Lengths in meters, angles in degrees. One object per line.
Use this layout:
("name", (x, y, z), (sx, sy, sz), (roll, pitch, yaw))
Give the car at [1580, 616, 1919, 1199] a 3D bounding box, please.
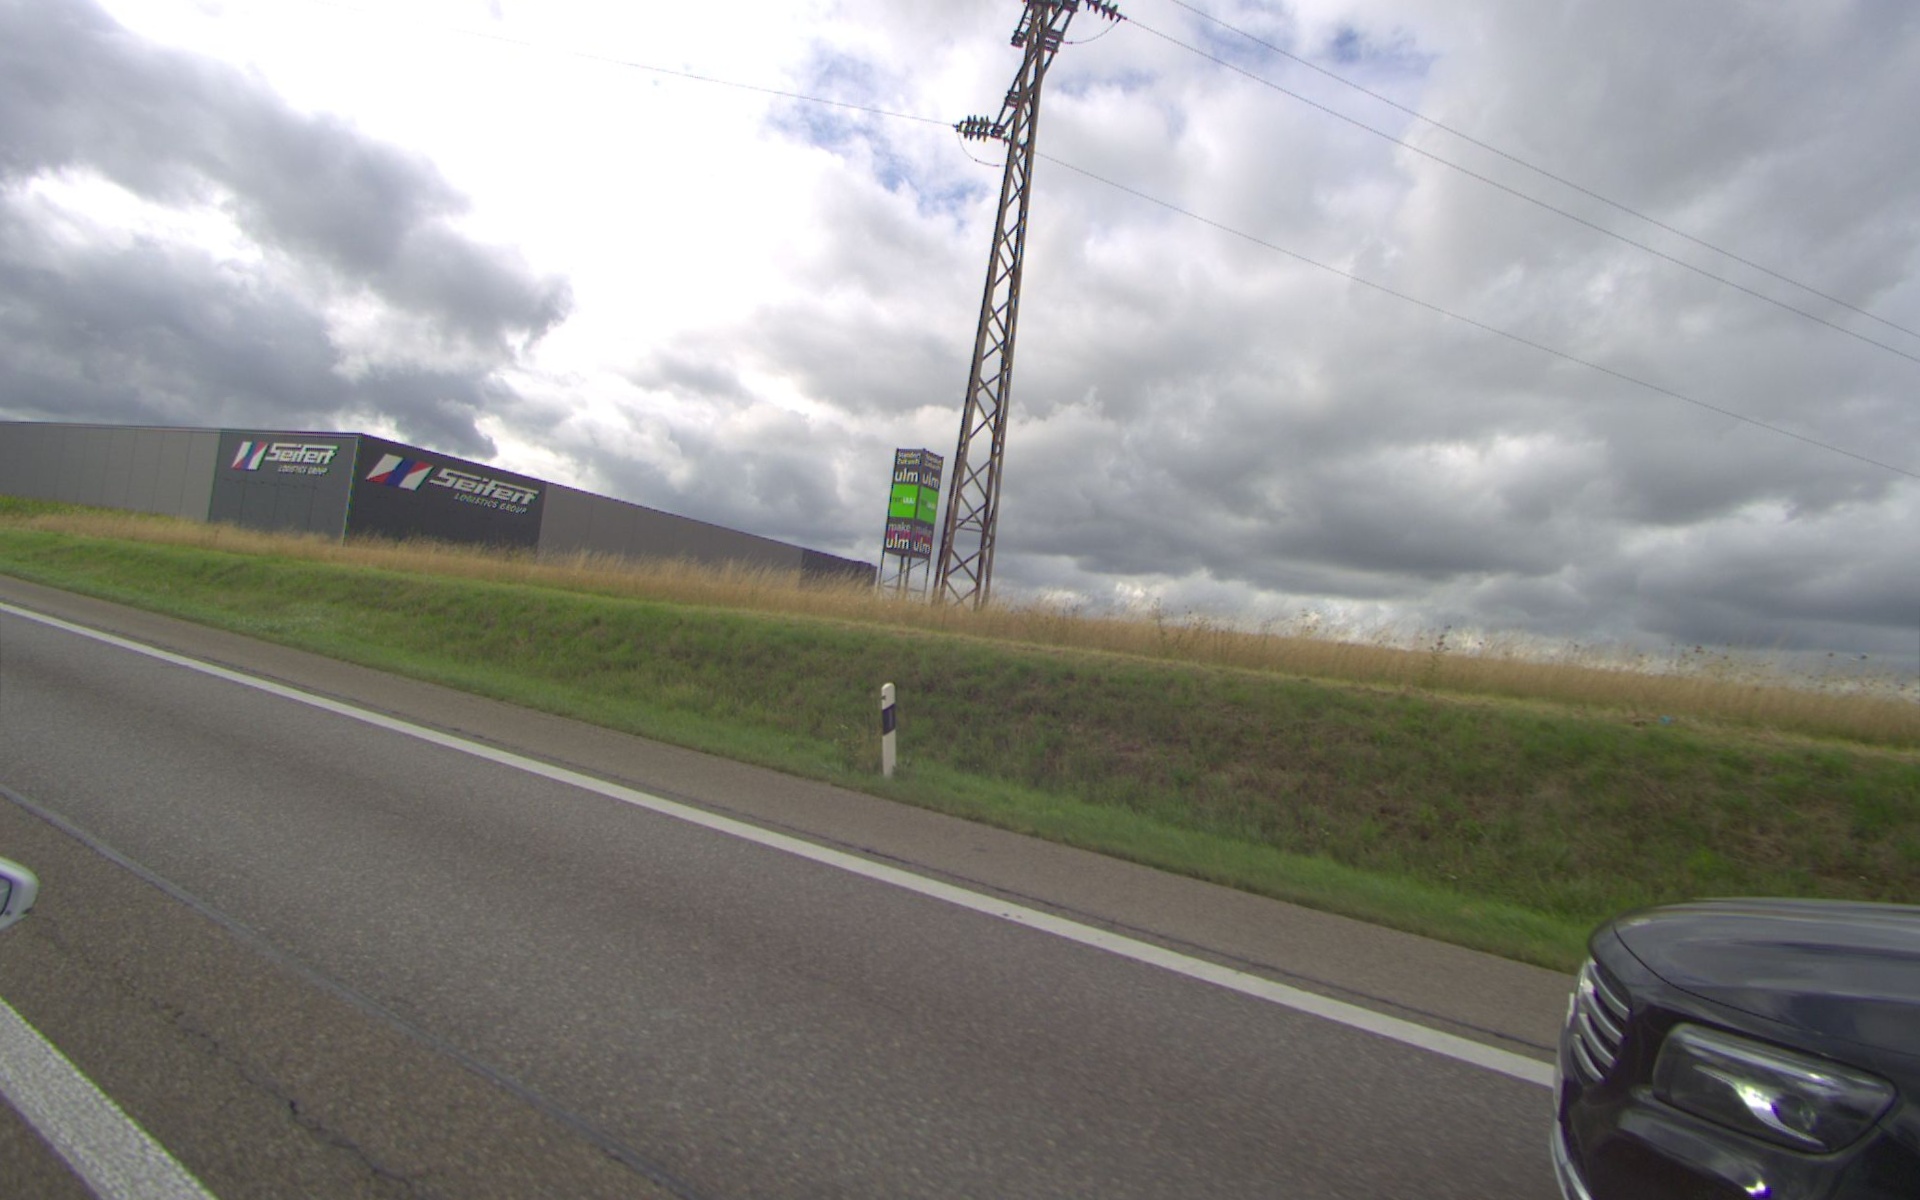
("car", (3.591, 1.118, 1.608), (4.289, 1.628, 1.836), (6, -1, 33))
